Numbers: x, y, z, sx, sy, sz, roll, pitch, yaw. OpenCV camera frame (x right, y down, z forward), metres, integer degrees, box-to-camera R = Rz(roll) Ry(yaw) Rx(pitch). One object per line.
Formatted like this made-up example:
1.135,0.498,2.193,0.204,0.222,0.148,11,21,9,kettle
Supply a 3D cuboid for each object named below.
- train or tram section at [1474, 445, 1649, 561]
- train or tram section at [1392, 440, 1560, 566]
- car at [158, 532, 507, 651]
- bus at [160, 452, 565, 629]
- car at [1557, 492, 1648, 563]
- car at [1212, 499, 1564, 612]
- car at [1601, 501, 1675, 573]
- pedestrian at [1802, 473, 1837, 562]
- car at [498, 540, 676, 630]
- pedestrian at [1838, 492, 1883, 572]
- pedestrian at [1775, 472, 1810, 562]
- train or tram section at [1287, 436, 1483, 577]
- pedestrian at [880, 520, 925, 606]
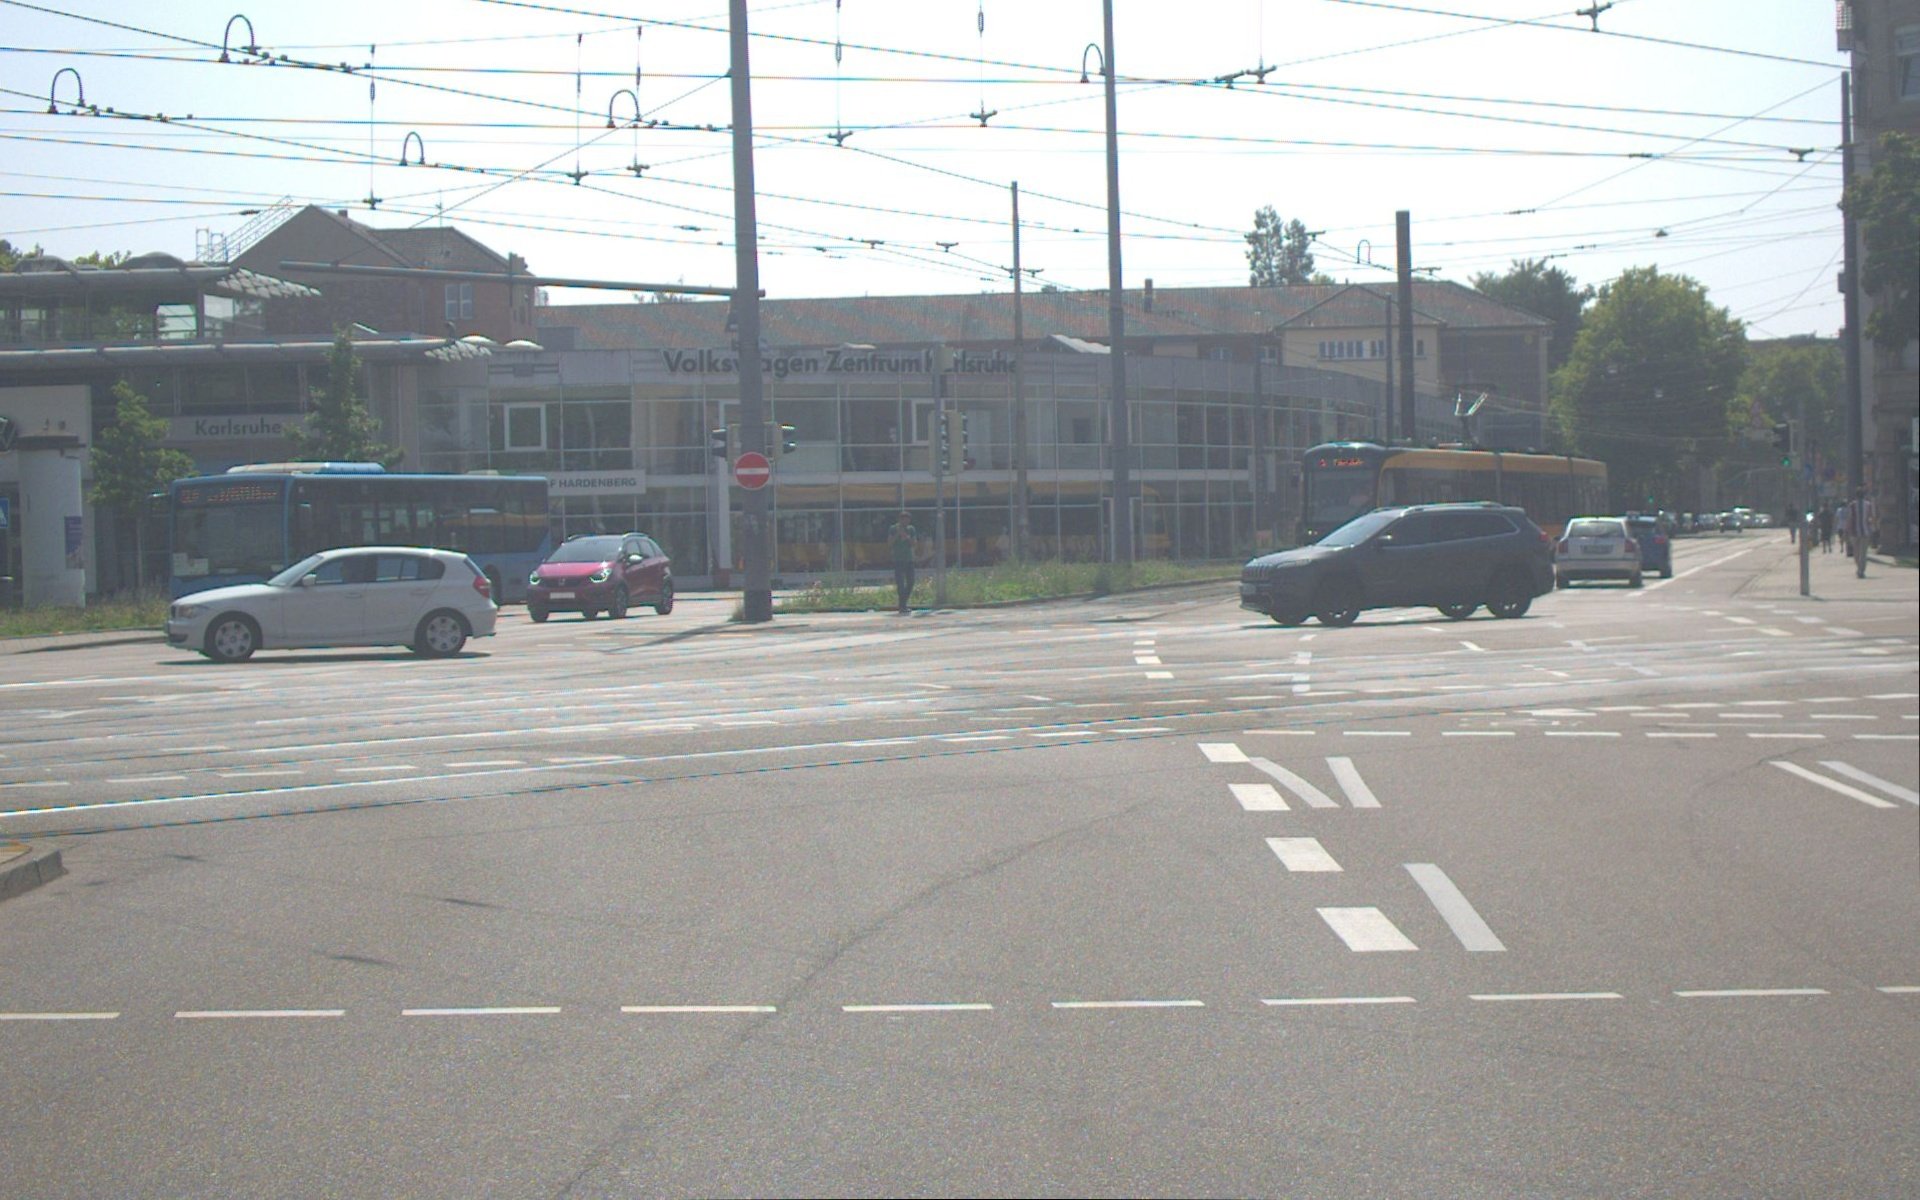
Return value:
19.742,-3.145,112.027,2.591,3.504,12.957,-1,1,24,train or tram section
15.346,-2.849,101.582,2.591,3.504,9.648,-1,1,23,train or tram section
-8.102,-0.134,44.351,4.187,1.411,1.776,-2,1,-19,car
-11.257,-1.182,66.605,2.564,3.072,12.014,-1,1,17,bus
13.476,-1.538,72.302,1.771,1.411,4.187,-1,1,9,car
6.166,-0.654,49.532,4.609,1.499,2.001,-1,1,-20,car
16.054,-1.498,81.289,1.637,1.612,3.998,-1,1,12,car
29.204,-2.795,116.788,0.983,3.007,0.974,-1,1,6,pedestrian
-6.825,-0.298,63.342,1.751,1.546,3.997,-1,1,18,car
18.317,-1.387,69.928,0.699,1.597,0.573,-1,1,-8,pedestrian
28.182,-2.800,116.384,0.983,3.007,0.974,-1,1,6,pedestrian
11.499,-2.489,91.980,2.591,3.504,10.887,-1,1,21,train or tram section
-0.984,-0.632,58.644,0.676,1.438,0.366,-1,1,-17,pedestrian
